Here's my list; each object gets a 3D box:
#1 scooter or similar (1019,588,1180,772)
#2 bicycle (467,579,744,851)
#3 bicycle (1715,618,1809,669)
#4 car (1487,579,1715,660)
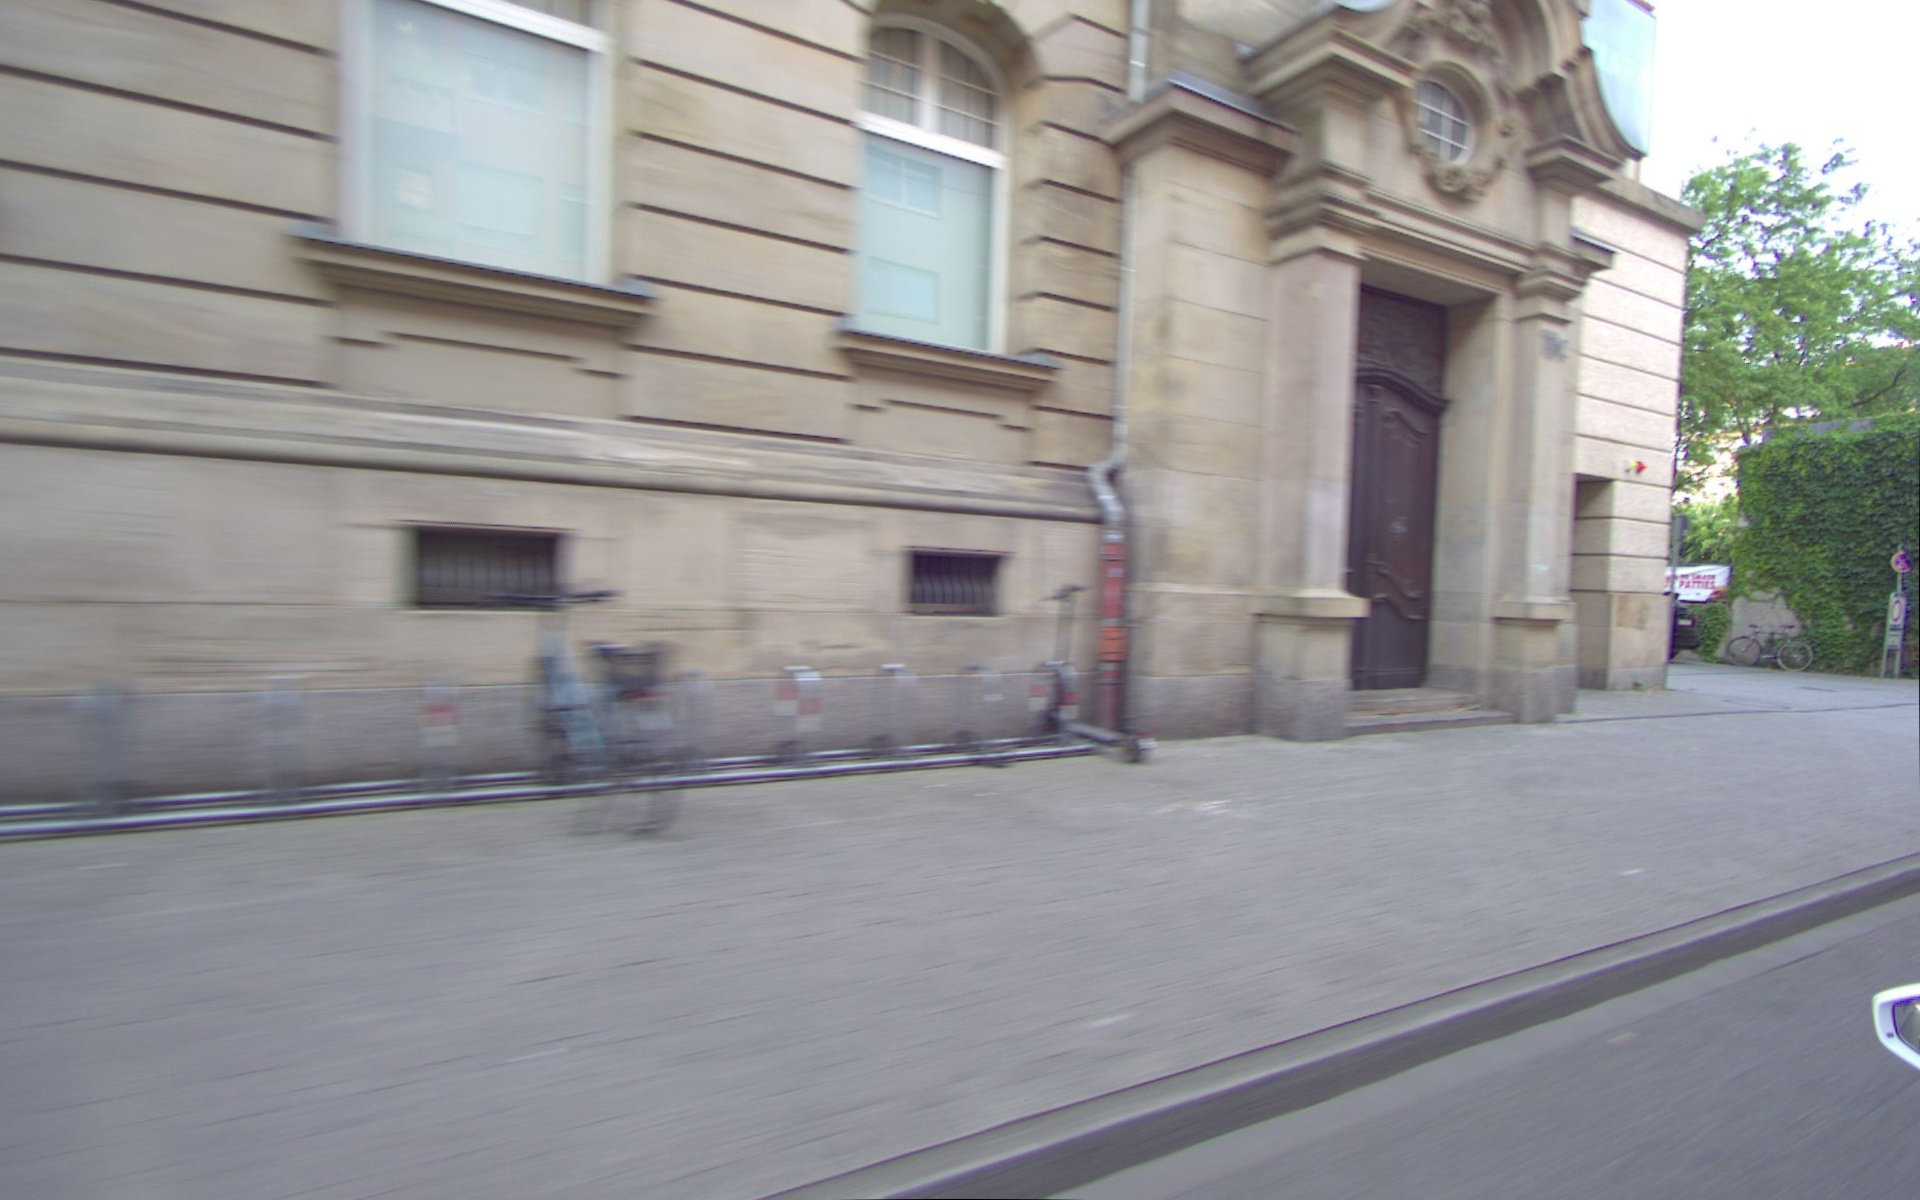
[{"bbox_3d":[1.043,0.562,7.659,0.493,1.249,1.122,0,3,-42],"label":"scooter or similar"},{"bbox_3d":[-1.968,0.507,5.380,0.616,1.076,1.917,0,5,-45],"label":"bicycle"},{"bbox_3d":[18.446,0.984,23.142,0.366,1.027,1.652,1,2,-28],"label":"bicycle"},{"bbox_3d":[15.436,0.397,24.444,2.041,1.783,4.203,1,1,-28],"label":"car"}]
